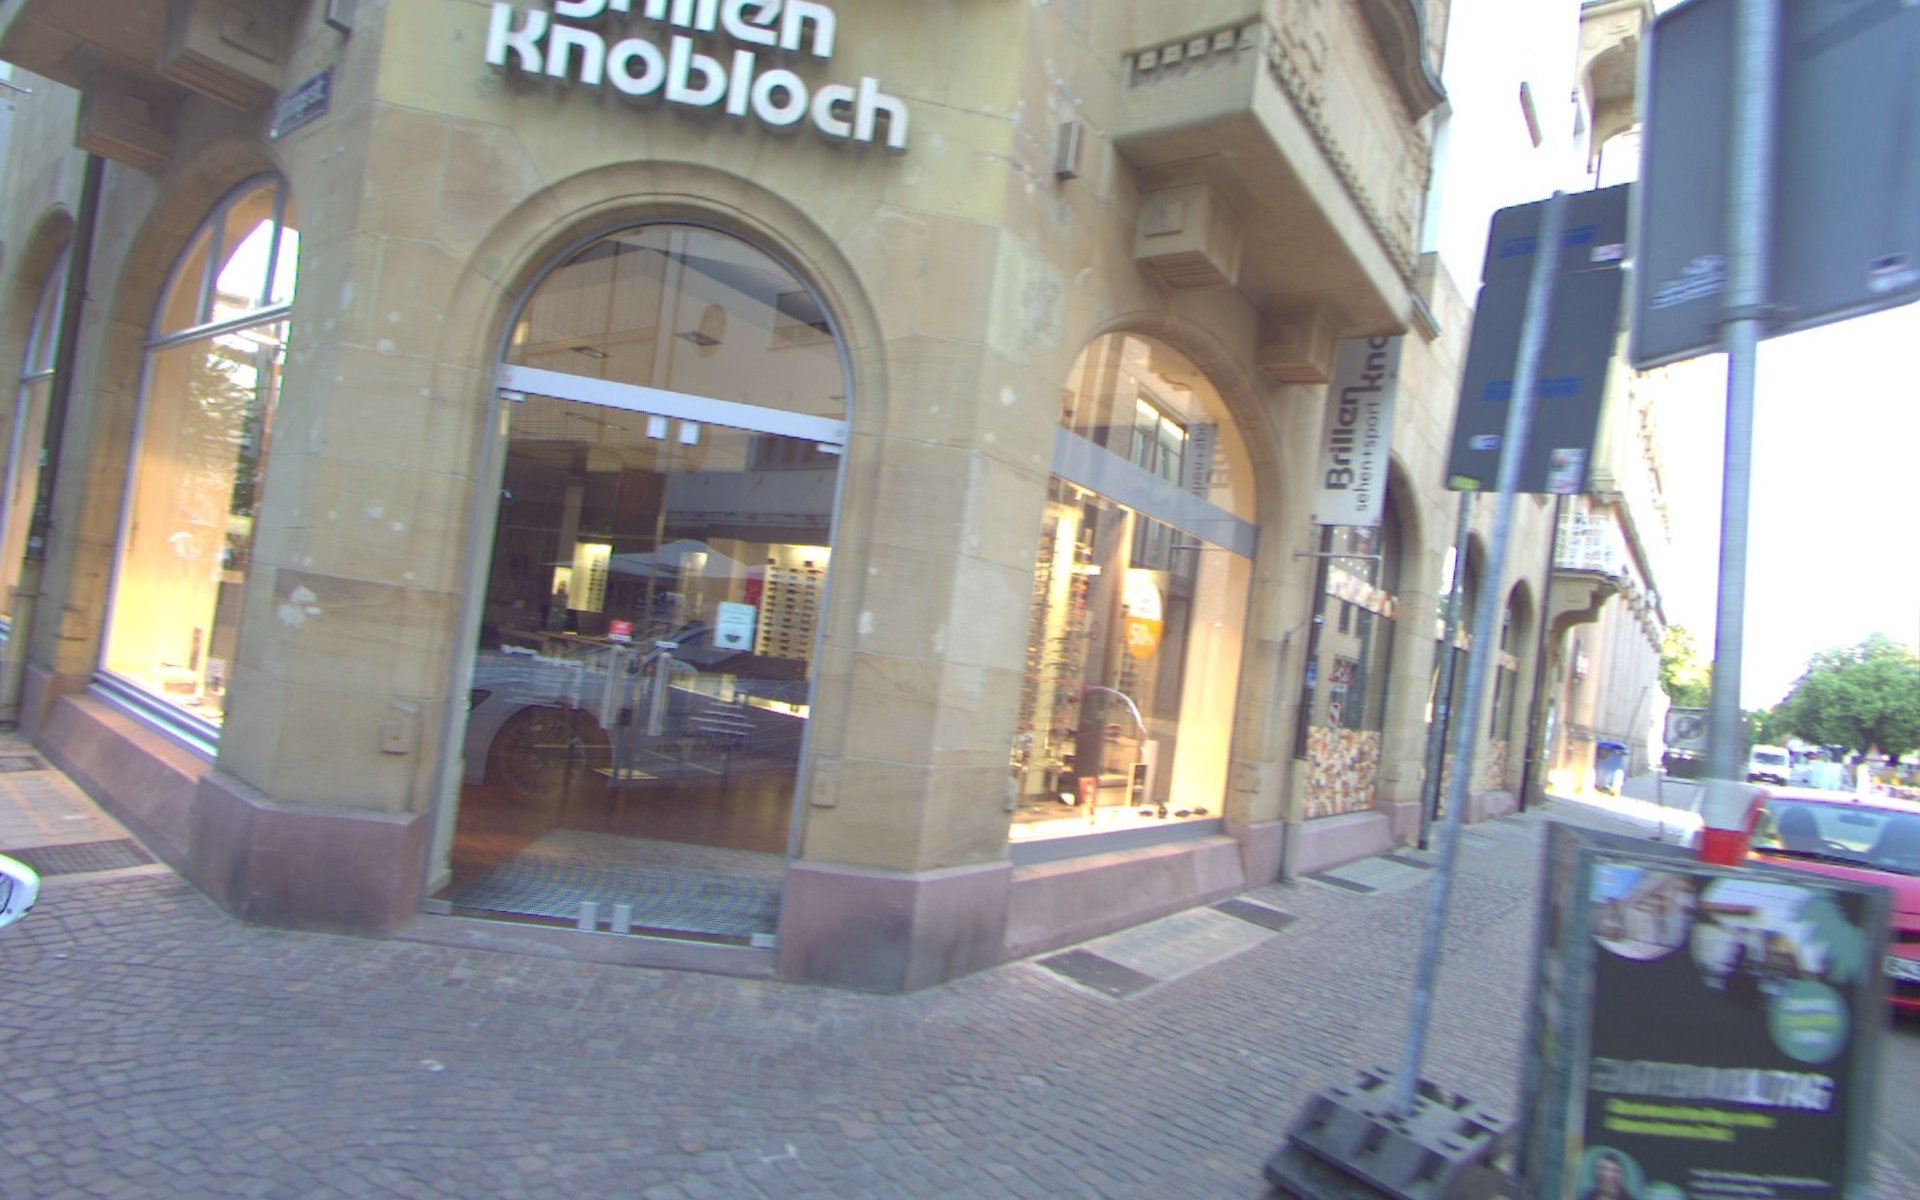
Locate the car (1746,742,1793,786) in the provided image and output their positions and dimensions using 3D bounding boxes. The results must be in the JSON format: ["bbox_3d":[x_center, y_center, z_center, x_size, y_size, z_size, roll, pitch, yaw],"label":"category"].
[{"bbox_3d":[50.750,10.246,63.030,1.914,2.331,3.984,7,-2,42],"label":"car"}]

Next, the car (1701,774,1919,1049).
[{"bbox_3d":[6.881,2.214,7.774,1.627,1.458,3.988,3,-5,39],"label":"car"}]
